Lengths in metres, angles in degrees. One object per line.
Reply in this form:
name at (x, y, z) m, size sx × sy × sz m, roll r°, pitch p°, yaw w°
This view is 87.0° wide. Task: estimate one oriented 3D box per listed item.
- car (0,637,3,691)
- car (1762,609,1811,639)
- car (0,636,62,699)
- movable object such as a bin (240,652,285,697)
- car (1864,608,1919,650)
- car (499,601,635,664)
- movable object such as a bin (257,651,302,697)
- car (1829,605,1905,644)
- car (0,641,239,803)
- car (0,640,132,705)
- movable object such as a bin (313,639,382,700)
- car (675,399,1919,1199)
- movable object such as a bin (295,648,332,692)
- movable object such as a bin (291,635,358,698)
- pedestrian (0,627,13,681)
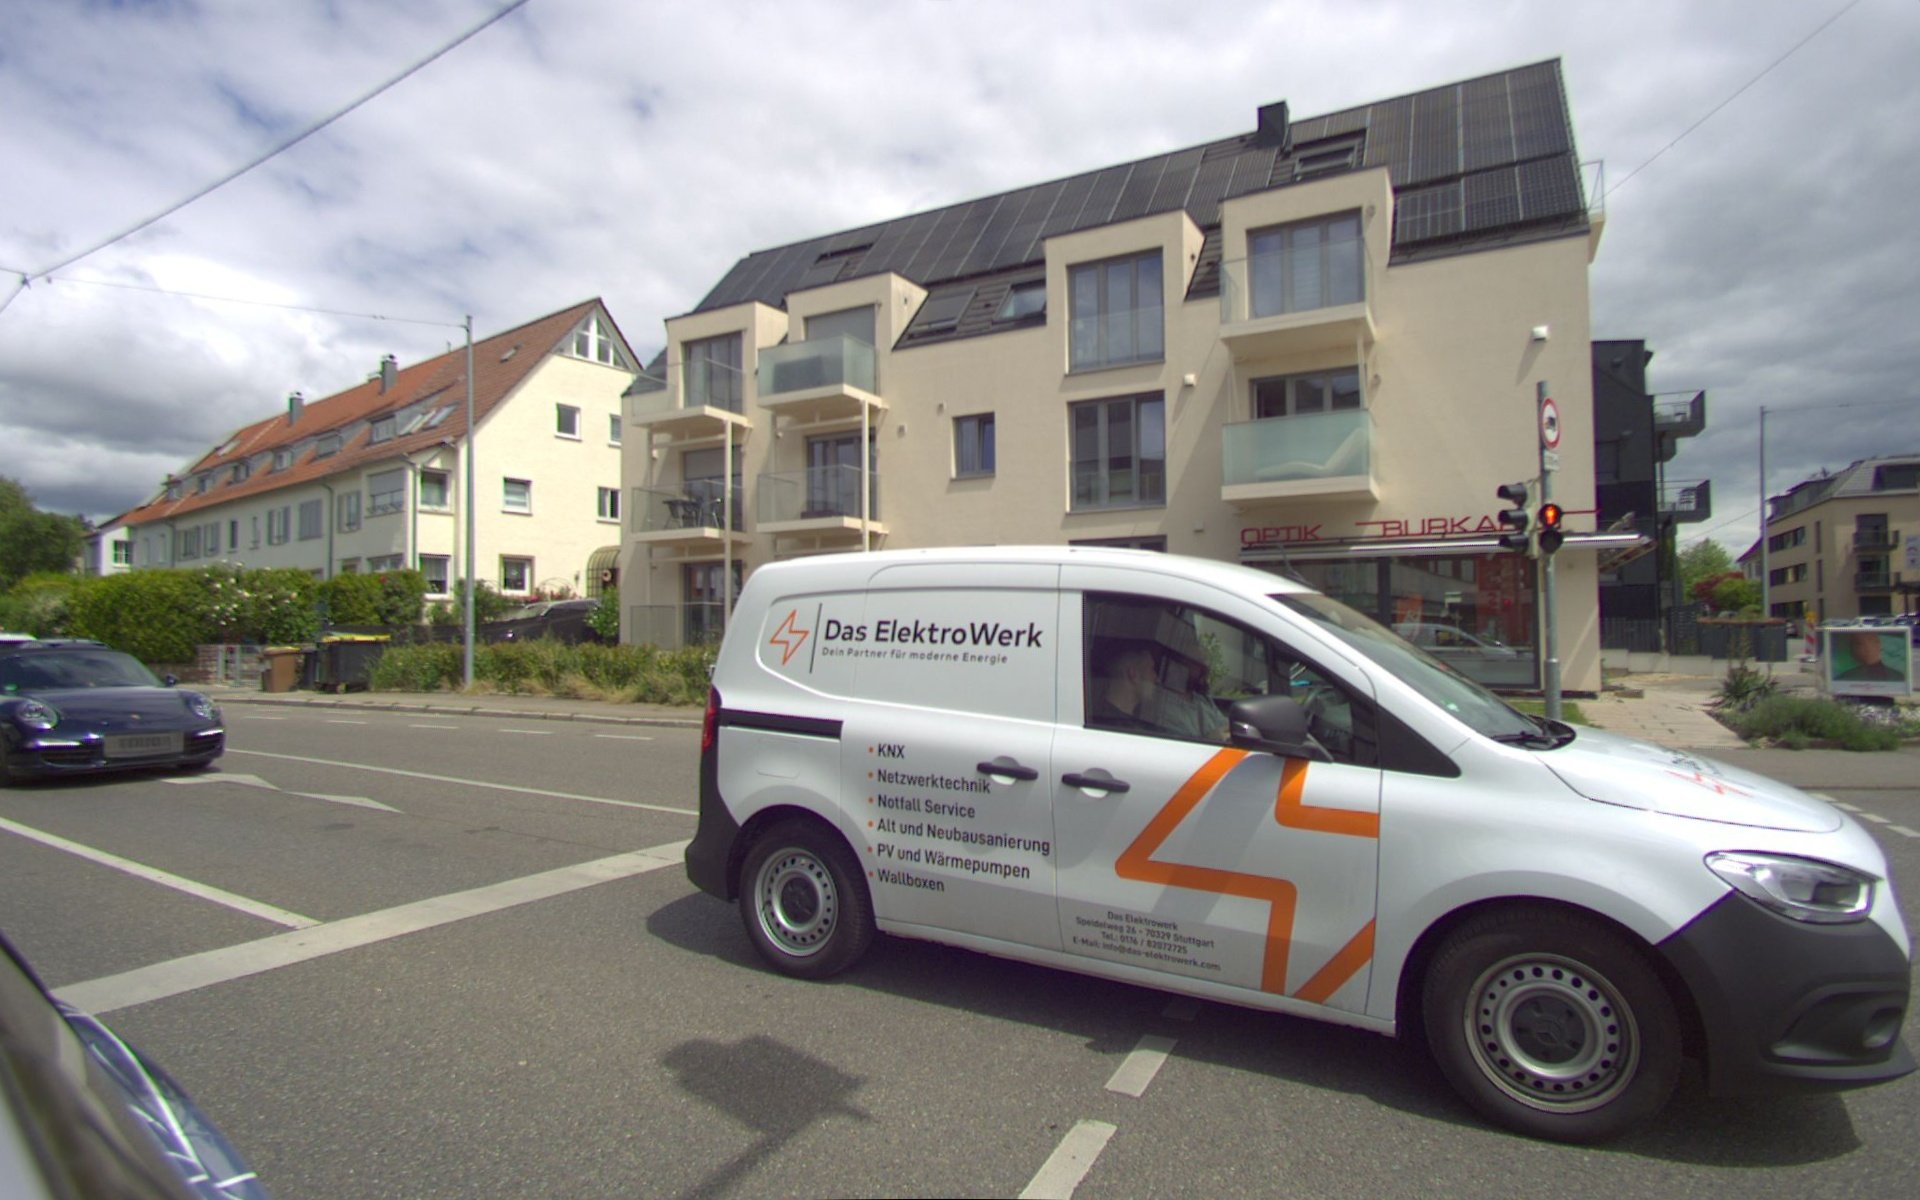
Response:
car at (-31.807, 2.013, 31.571) m, size 4.225 × 1.645 × 1.977 m, roll -2°, pitch -2°, yaw 34°
car at (58.653, 1.708, 71.868) m, size 1.992 × 2.029 × 3.959 m, roll -2°, pitch -2°, yaw 30°
car at (-27.386, 1.876, 28.575) m, size 4.441 × 1.645 × 1.977 m, roll -2°, pitch -2°, yaw 34°
movable object such as a bin at (-17.188, 1.827, 24.944) m, size 0.692 × 1.073 × 0.754 m, roll -2°, pitch -2°, yaw 41°
car at (47.326, 1.426, 50.657) m, size 1.989 × 2.029 × 3.966 m, roll -1°, pitch -1°, yaw 25°
car at (-13.381, 1.094, 34.657) m, size 1.994 × 2.029 × 3.954 m, roll -2°, pitch -2°, yaw 33°
movable object such as a bin at (-16.531, 1.778, 24.585) m, size 0.692 × 1.073 × 0.754 m, roll -2°, pitch -2°, yaw 41°
car at (49.497, 1.342, 55.331) m, size 1.989 × 2.029 × 3.966 m, roll -1°, pitch -1°, yaw 25°
car at (-9.502, 1.139, 10.671) m, size 4.033 × 1.374 × 1.795 m, roll -2°, pitch -2°, yaw 34°
car at (-23.224, 1.795, 25.904) m, size 4.437 × 1.513 × 1.800 m, roll -2°, pitch -2°, yaw 31°
movable object such as a bin at (-14.405, 1.608, 23.818) m, size 0.978 × 1.373 × 1.080 m, roll -2°, pitch -2°, yaw 34°
car at (1.063, 0.514, 4.076) m, size 4.404 × 1.825 × 1.802 m, roll -2°, pitch -2°, yaw 32°
movable object such as a bin at (-16.015, 1.728, 25.077) m, size 0.515 × 1.073 × 0.657 m, roll -1°, pitch -2°, yaw -5°
movable object such as a bin at (-15.371, 1.585, 24.498) m, size 0.978 × 1.457 × 1.080 m, roll -2°, pitch -2°, yaw 34°
pedestrian at (-32.680, 1.833, 34.419) m, size 0.510 × 1.830 × 0.528 m, roll -2°, pitch -2°, yaw 29°
